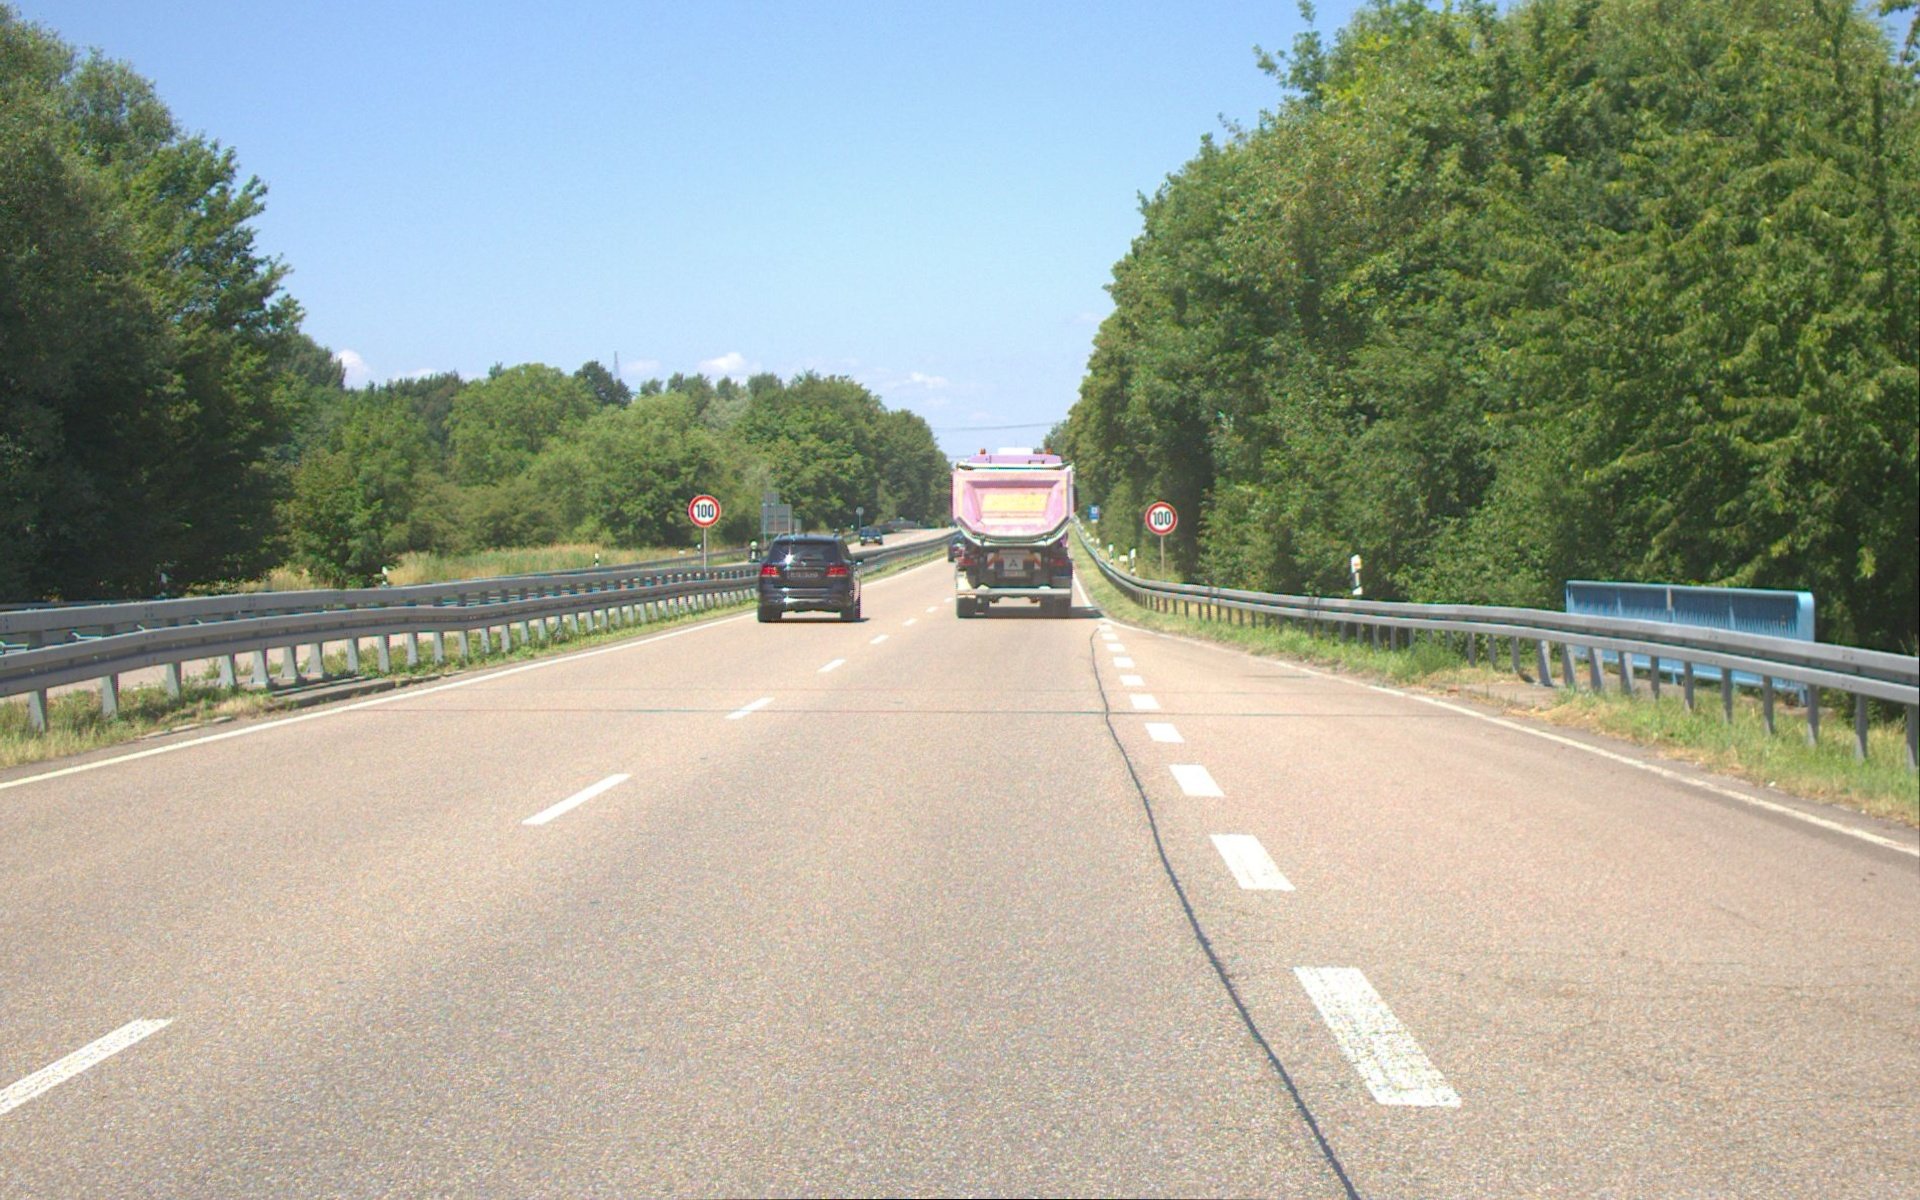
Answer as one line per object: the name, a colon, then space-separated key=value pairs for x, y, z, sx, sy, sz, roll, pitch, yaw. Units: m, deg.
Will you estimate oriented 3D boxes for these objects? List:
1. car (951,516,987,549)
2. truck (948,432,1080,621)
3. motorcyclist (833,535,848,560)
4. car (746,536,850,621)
car: x=0.495 y=-3.626 z=185.884 sx=1.857 sy=1.712 sz=4.000 roll=0 pitch=0 yaw=1
truck: x=1.213 y=-1.682 z=77.403 sx=2.720 sy=3.916 sz=12.370 roll=0 pitch=2 yaw=1
motorcyclist: x=-7.966 y=-3.507 z=229.334 sx=0.945 sy=1.611 sz=0.809 roll=-2 pitch=1 yaw=1
car: x=-3.260 y=-0.421 z=69.695 sx=1.857 sy=1.665 sz=4.000 roll=0 pitch=0 yaw=1
